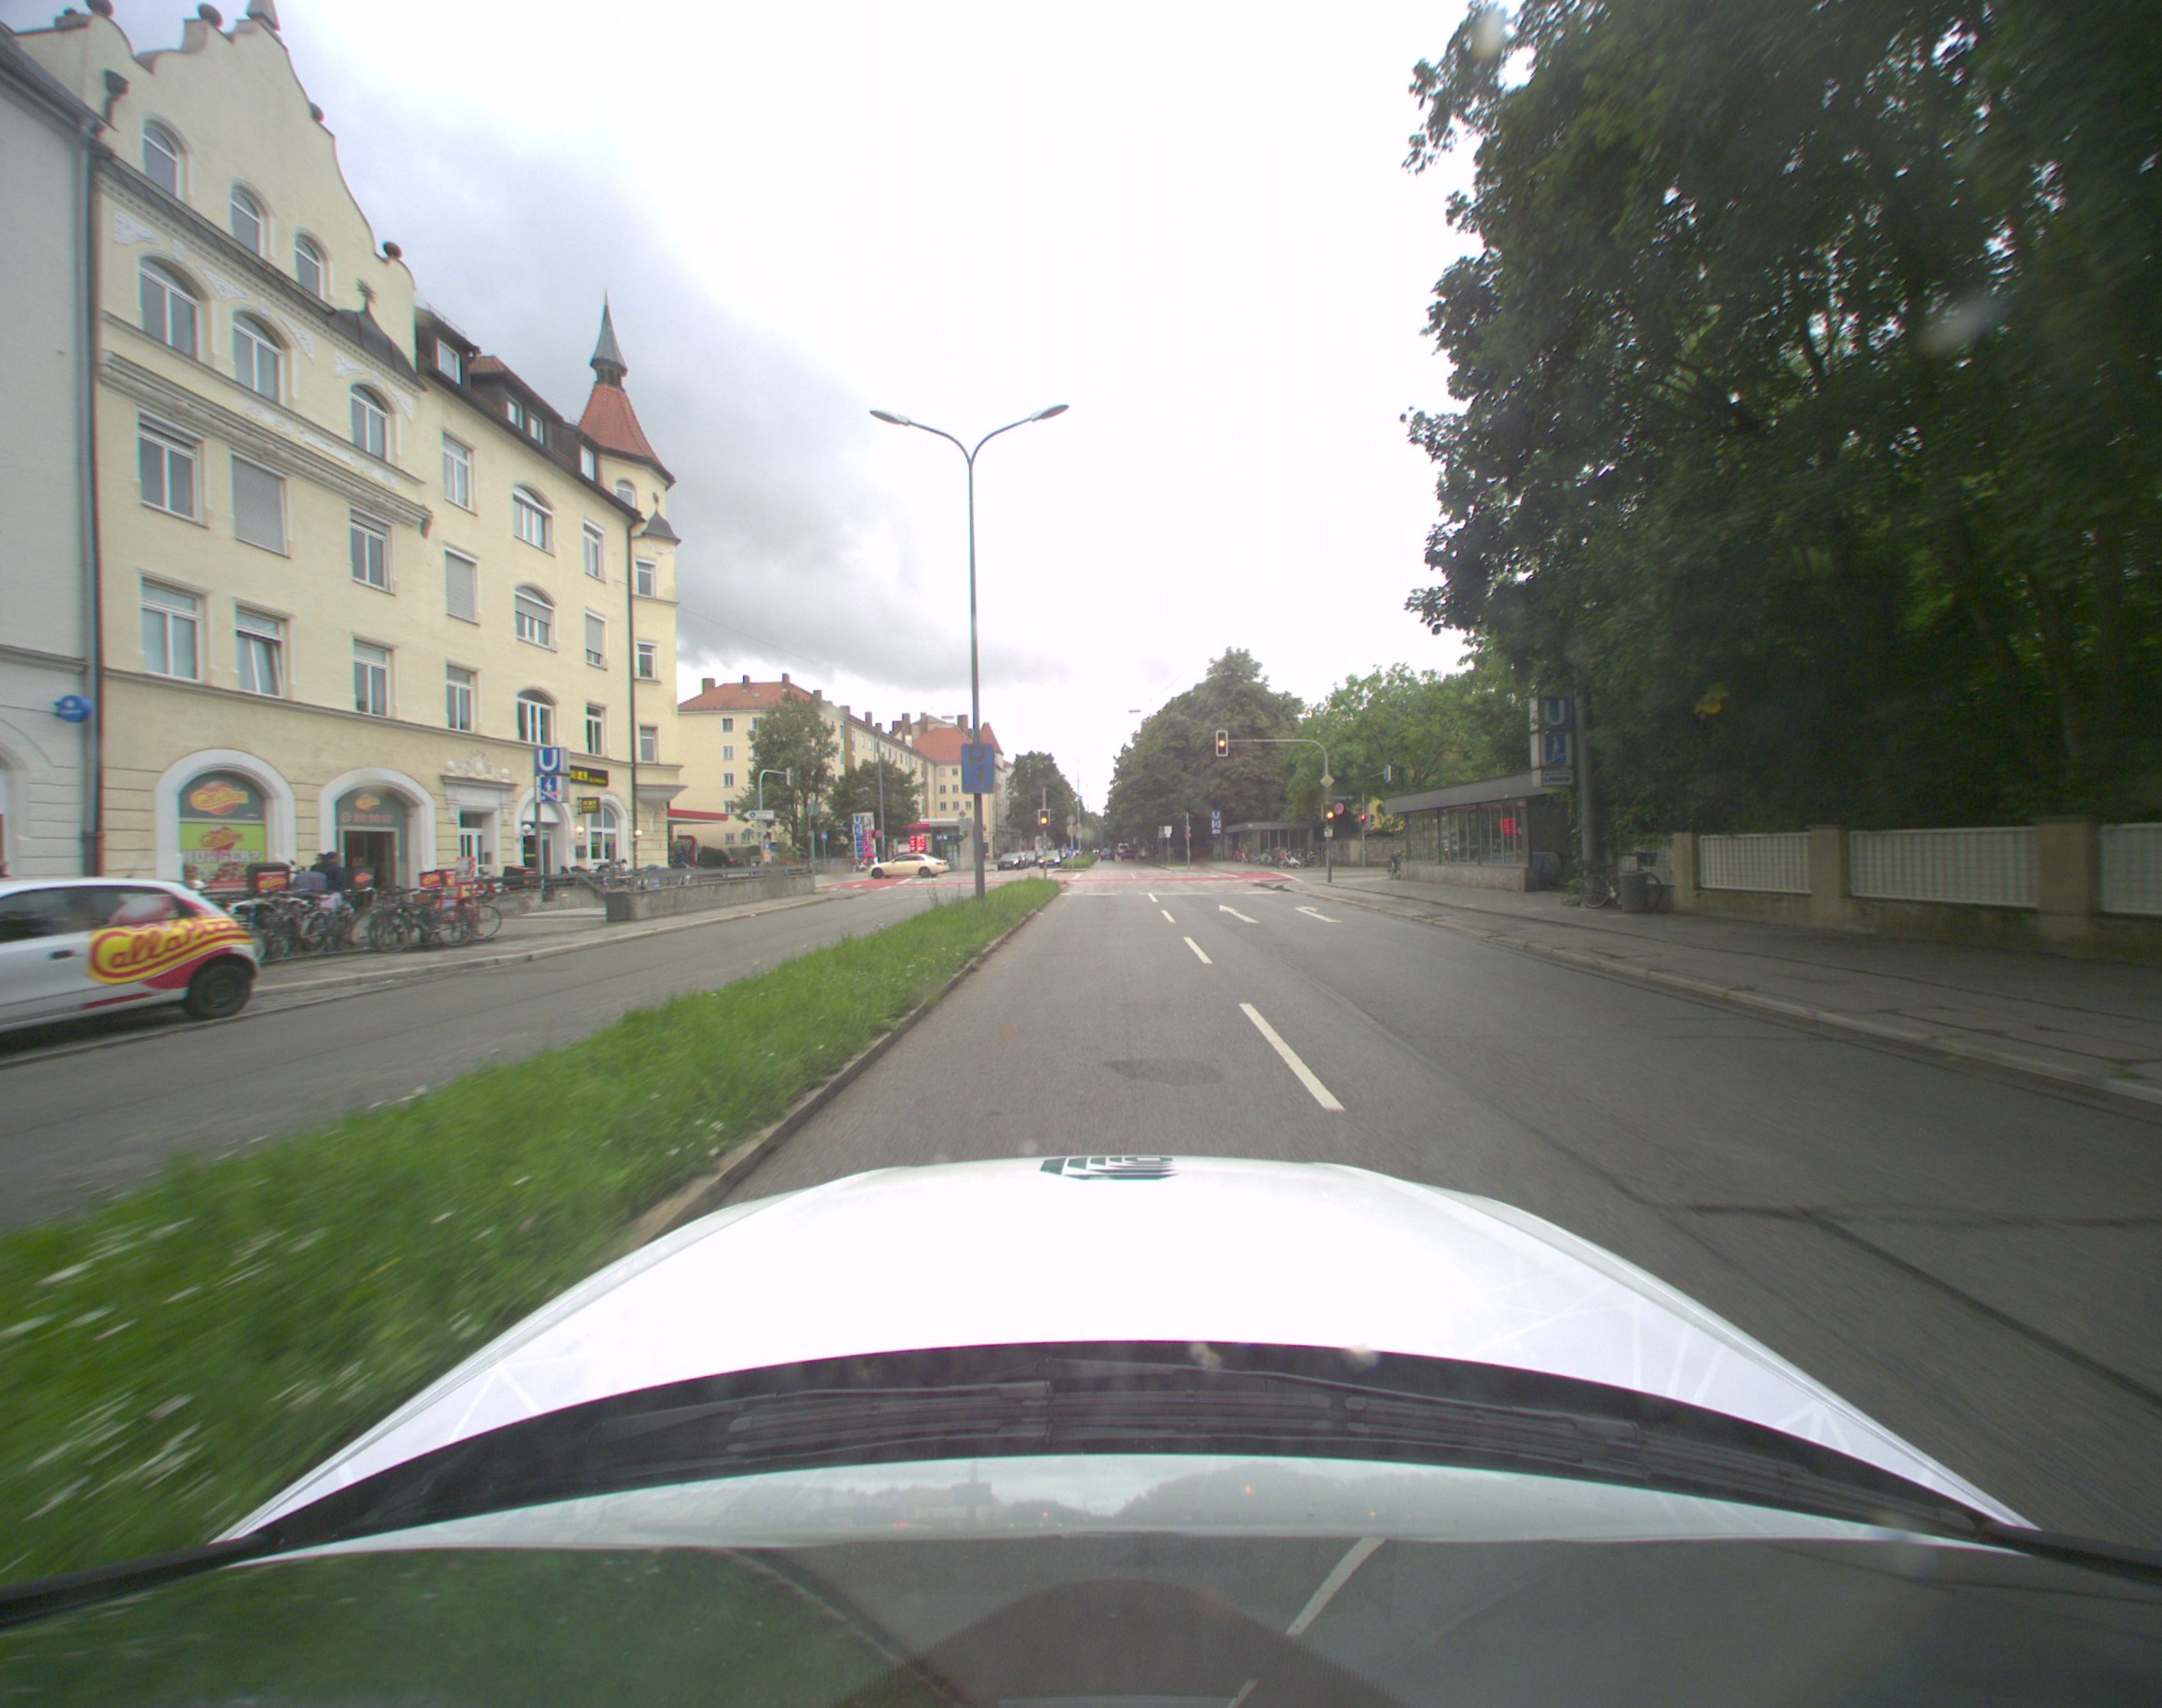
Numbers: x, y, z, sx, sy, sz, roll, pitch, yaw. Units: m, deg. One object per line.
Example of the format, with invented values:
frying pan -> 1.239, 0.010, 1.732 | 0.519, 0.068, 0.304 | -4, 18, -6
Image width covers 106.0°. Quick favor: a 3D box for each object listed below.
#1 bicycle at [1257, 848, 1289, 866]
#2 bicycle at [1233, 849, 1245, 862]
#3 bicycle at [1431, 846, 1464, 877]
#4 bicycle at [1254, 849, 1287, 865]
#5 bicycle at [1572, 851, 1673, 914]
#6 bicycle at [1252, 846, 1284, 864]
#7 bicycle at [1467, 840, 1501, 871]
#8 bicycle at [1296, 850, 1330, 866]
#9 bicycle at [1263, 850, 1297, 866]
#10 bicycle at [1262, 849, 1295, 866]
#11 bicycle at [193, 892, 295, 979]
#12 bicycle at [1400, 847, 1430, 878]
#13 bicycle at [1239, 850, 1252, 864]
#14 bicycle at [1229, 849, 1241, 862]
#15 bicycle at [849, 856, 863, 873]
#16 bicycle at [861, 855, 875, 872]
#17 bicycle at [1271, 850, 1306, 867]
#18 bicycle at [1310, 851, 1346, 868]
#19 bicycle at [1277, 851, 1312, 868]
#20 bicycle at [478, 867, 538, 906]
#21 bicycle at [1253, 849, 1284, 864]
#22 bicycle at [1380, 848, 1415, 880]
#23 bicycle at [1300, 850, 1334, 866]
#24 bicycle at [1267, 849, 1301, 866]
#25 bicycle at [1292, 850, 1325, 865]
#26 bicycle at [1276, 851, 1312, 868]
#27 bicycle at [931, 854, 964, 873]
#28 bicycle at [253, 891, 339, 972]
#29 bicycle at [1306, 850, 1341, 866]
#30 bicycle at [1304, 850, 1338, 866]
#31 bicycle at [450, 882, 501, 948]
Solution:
bicycle -> 13.150, 0.175, 55.801 | 2.130, 1.178, 0.604 | -1, 0, 10
bicycle -> 12.295, 0.092, 63.382 | 0.555, 1.014, 2.015 | -1, 0, 0
bicycle -> 13.759, 0.267, 30.606 | 0.467, 1.121, 1.736 | -1, -1, 2
bicycle -> 13.146, 0.219, 56.504 | 2.130, 1.062, 0.604 | -1, 0, 10
bicycle -> 10.260, 0.506, 15.524 | 0.620, 1.090, 2.027 | -1, 0, 2
bicycle -> 13.328, 0.070, 58.087 | 2.130, 1.218, 0.604 | -1, 0, 10
bicycle -> 15.110, 0.042, 30.566 | 0.467, 1.121, 1.736 | -1, -1, 2
bicycle -> 15.806, 0.249, 55.533 | 2.130, 1.014, 0.636 | -1, 0, 10
bicycle -> 13.269, 0.248, 54.330 | 2.130, 1.014, 0.604 | -1, 0, 10
bicycle -> 13.323, 0.208, 55.049 | 2.130, 1.086, 0.604 | -1, 0, 10
bicycle -> -12.504, 1.177, 12.221 | 0.383, 1.115, 1.669 | -1, 0, -21
bicycle -> 12.541, 0.328, 30.640 | 0.467, 1.121, 1.736 | -1, -1, 2
bicycle -> 12.233, 0.201, 60.652 | 0.555, 1.014, 2.015 | -1, 0, 0
bicycle -> 12.592, 0.100, 66.716 | 0.555, 1.014, 2.015 | -1, 0, 0
bicycle -> -16.847, 0.759, 60.977 | 0.607, 1.236, 2.184 | -1, 0, -4
bicycle -> -16.161, 0.741, 61.787 | 0.607, 1.236, 2.184 | -1, 0, -4
bicycle -> 13.487, 0.314, 52.953 | 2.130, 1.071, 0.604 | -1, 0, 10
bicycle -> 15.875, 0.351, 52.385 | 2.130, 1.014, 0.636 | -1, 0, 10
bicycle -> 13.680, 0.338, 52.142 | 2.130, 1.014, 0.636 | -1, 0, 10
bicycle -> -15.484, 0.864, 22.054 | 0.471, 0.980, 1.546 | -1, 0, 2
bicycle -> 13.206, 0.201, 57.384 | 2.130, 1.014, 0.604 | -1, 0, 10
bicycle -> 11.888, 0.372, 30.638 | 0.597, 1.121, 1.891 | -1, 0, 2
bicycle -> 15.831, 0.250, 54.747 | 2.130, 1.014, 0.636 | -1, 0, 10
bicycle -> 13.372, 0.234, 53.612 | 2.130, 1.101, 0.604 | -1, 0, 10
bicycle -> 15.731, 0.250, 56.328 | 2.130, 1.014, 0.636 | -1, 0, 10
bicycle -> 13.459, 0.356, 51.523 | 2.130, 1.014, 0.604 | -1, 0, 10
bicycle -> -9.961, 0.703, 60.911 | 2.275, 1.304, 0.694 | -1, 0, 2
bicycle -> -12.360, 1.176, 12.869 | 0.330, 1.115, 1.669 | -1, 0, -21
bicycle -> 15.850, 0.251, 53.183 | 2.130, 1.014, 0.636 | -1, 0, 10
bicycle -> 15.883, 0.252, 53.951 | 2.130, 1.014, 0.636 | -1, 0, 10
bicycle -> -11.524, 1.128, 15.541 | 0.330, 1.115, 1.669 | -1, 0, -21
